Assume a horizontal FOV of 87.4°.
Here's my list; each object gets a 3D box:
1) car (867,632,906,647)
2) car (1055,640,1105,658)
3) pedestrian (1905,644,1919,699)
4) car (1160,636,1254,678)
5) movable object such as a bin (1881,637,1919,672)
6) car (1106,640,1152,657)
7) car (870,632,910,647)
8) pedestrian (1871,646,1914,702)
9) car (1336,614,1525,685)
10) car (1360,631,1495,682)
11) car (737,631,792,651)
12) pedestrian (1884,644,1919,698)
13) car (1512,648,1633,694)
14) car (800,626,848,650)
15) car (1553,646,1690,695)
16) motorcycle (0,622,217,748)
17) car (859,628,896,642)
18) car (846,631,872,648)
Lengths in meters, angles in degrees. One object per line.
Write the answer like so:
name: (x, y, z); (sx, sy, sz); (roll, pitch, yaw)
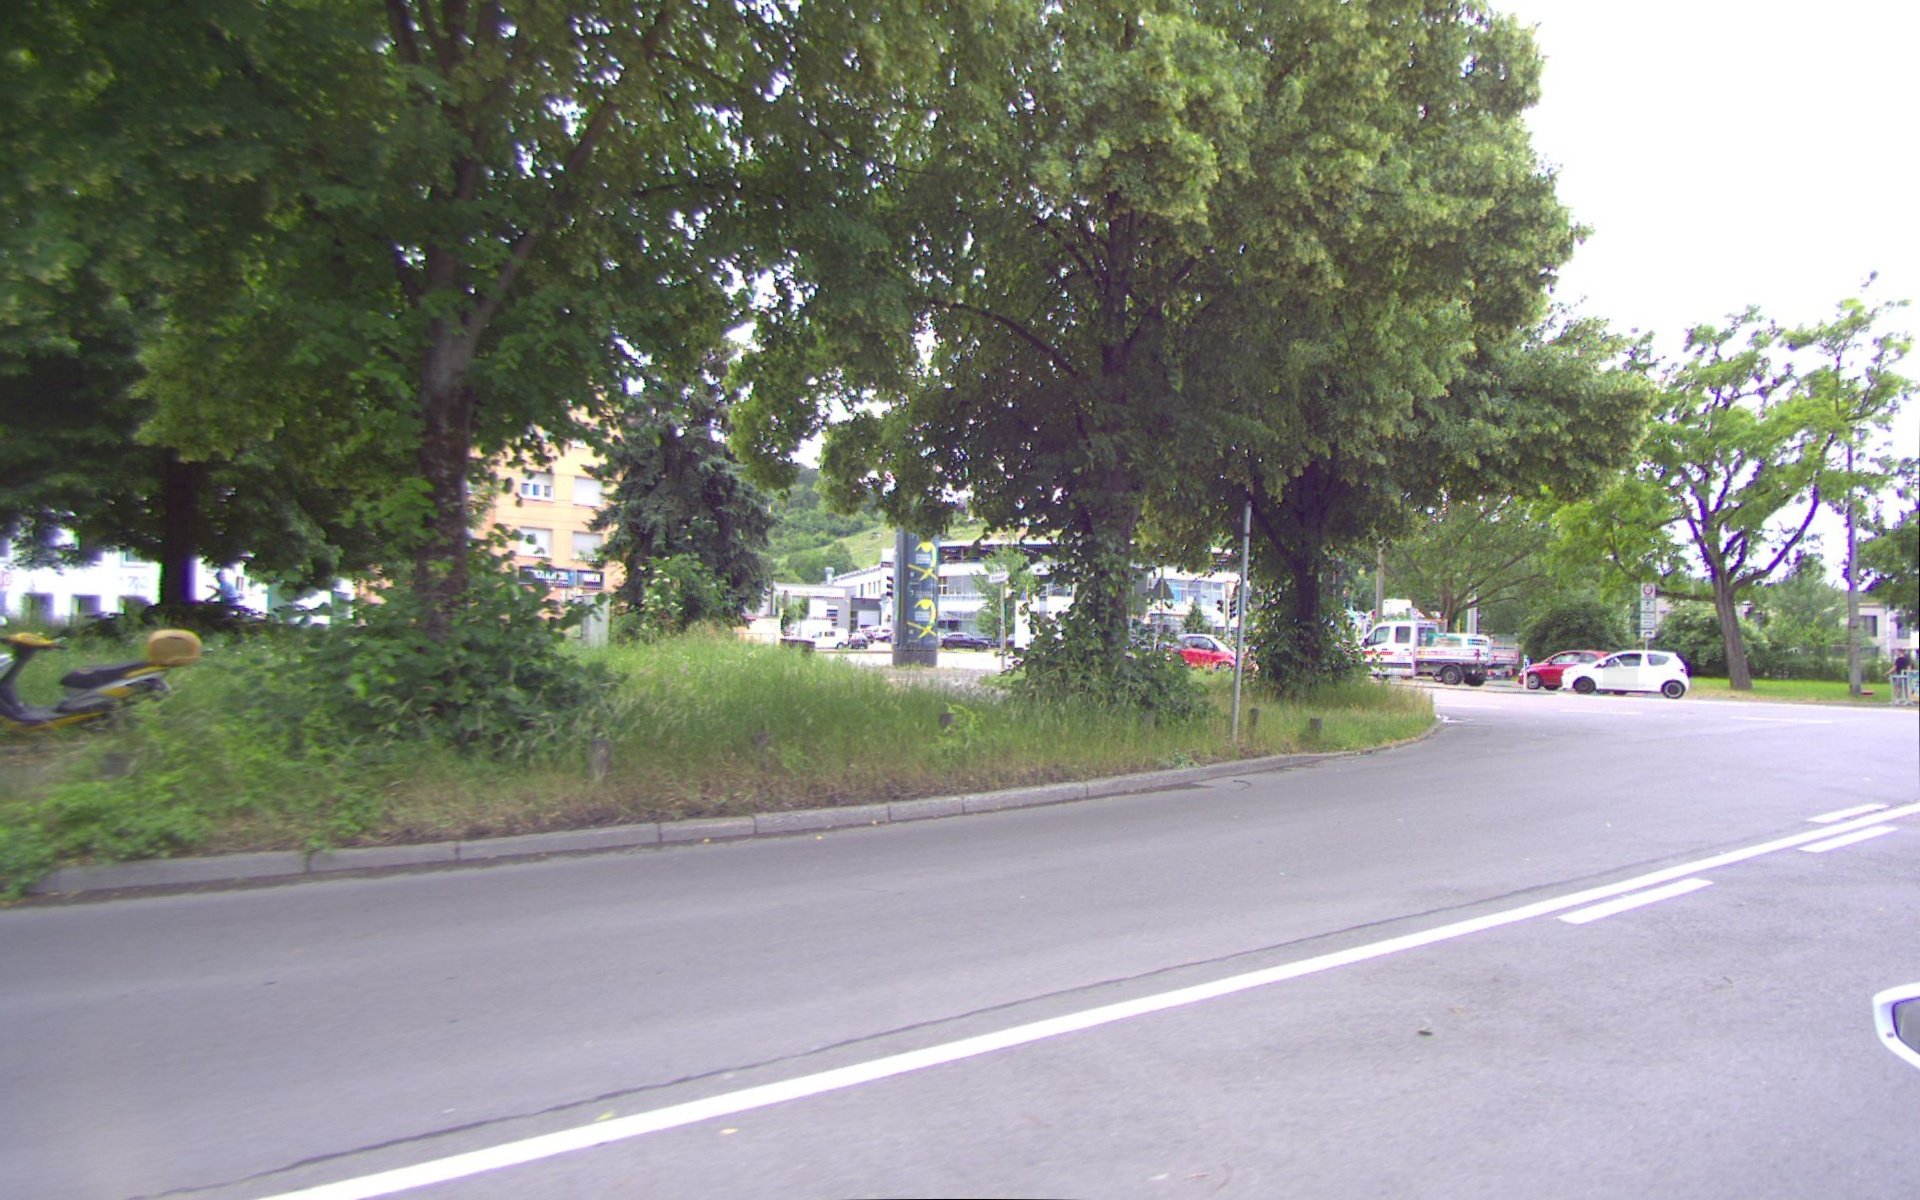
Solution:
car: (-8.833, 4.712, 120.689); (4.428, 1.714, 1.994); (1, -2, -15)
car: (11.755, 4.763, 98.448); (4.430, 1.714, 1.993); (-1, -3, 36)
pedestrian: (31.159, 2.302, 32.378); (0.712, 1.765, 0.744); (0, -2, 12)
car: (8.559, 1.951, 34.834); (2.828, 1.367, 1.560); (-1, -2, 31)
movable object such as a bin: (57.561, 3.270, 60.491); (2.355, 2.040, 1.998); (1, -2, -8)
car: (17.779, 5.135, 105.648); (4.430, 1.714, 1.993); (-1, -3, 36)
car: (-8.237, 4.669, 118.445); (4.428, 1.714, 1.994); (1, -2, -15)
pedestrian: (30.112, 2.373, 32.454); (0.712, 1.765, 0.744); (0, -2, 12)
car: (17.339, 1.801, 37.401); (2.371, 2.419, 6.031); (2, -3, -35)
car: (19.053, 2.260, 41.209); (2.020, 1.967, 4.967); (2, -2, -24)
car: (-16.757, 3.511, 85.951); (4.428, 1.705, 1.994); (1, -2, -16)
pedestrian: (31.249, 2.329, 33.221); (0.712, 1.765, 0.744); (0, -2, 12)
car: (21.957, 2.512, 36.073); (1.626, 1.497, 3.368); (2, -3, -37)
car: (-13.128, 3.697, 96.917); (4.428, 2.234, 1.994); (1, -2, -16)
car: (21.042, 2.206, 32.078); (3.555, 1.428, 1.737); (-1, -2, 33)
motorcycle: (-8.631, 0.819, 9.889); (2.009, 1.183, 0.564); (2, -2, -26)
car: (-10.415, 4.466, 127.052); (4.428, 1.714, 1.994); (1, -2, -15)
car: (-10.219, 3.975, 101.457); (1.967, 1.714, 4.490); (1, -2, -15)
